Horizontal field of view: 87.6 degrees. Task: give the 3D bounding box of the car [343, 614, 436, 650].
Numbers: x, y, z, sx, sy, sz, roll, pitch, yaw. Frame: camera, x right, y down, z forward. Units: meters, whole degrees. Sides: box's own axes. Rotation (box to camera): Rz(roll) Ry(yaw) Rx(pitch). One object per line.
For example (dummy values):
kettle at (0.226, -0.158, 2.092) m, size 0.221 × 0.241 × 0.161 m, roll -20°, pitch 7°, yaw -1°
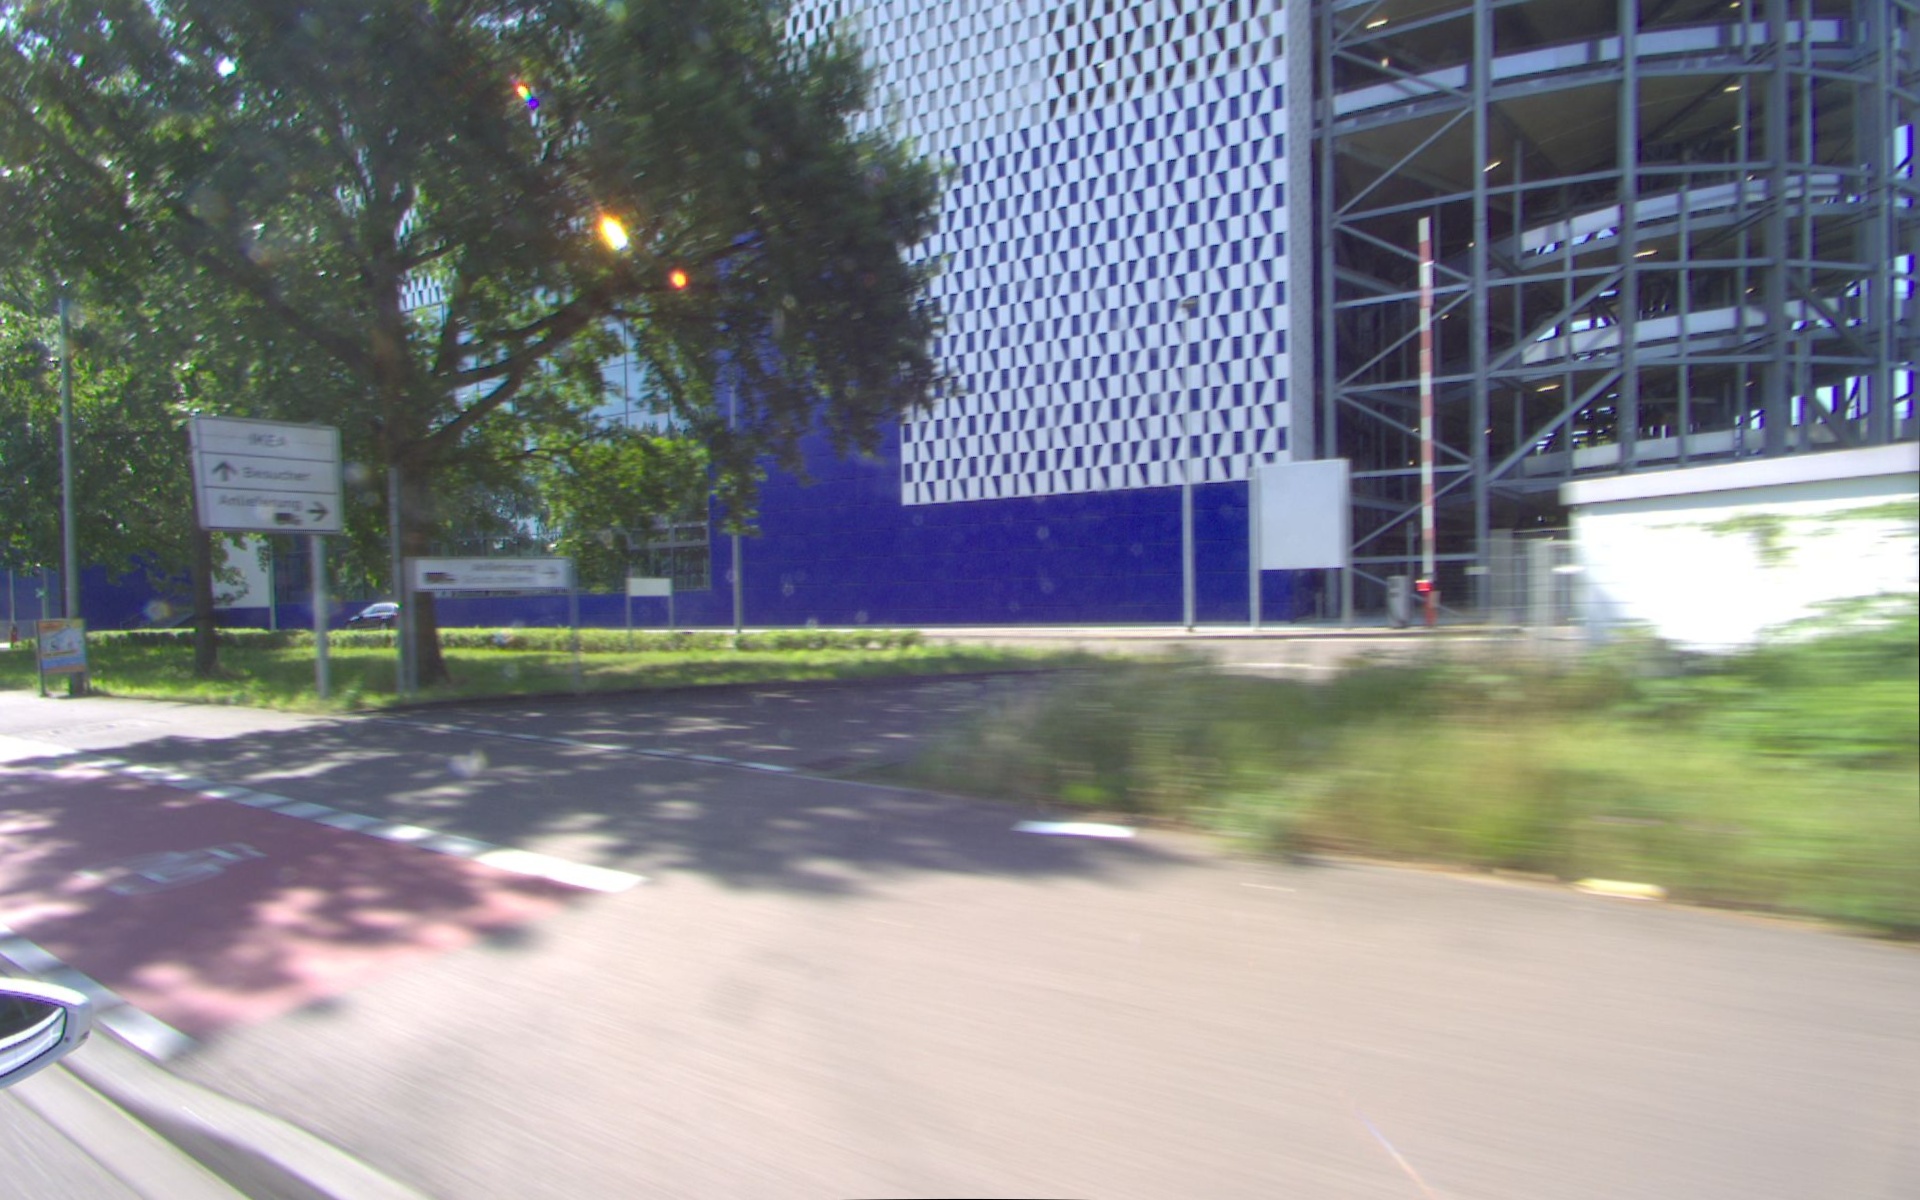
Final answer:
car at (-26.864, 1.493, 47.149) m, size 4.309 × 1.540 × 1.902 m, roll -1°, pitch 1°, yaw 30°
